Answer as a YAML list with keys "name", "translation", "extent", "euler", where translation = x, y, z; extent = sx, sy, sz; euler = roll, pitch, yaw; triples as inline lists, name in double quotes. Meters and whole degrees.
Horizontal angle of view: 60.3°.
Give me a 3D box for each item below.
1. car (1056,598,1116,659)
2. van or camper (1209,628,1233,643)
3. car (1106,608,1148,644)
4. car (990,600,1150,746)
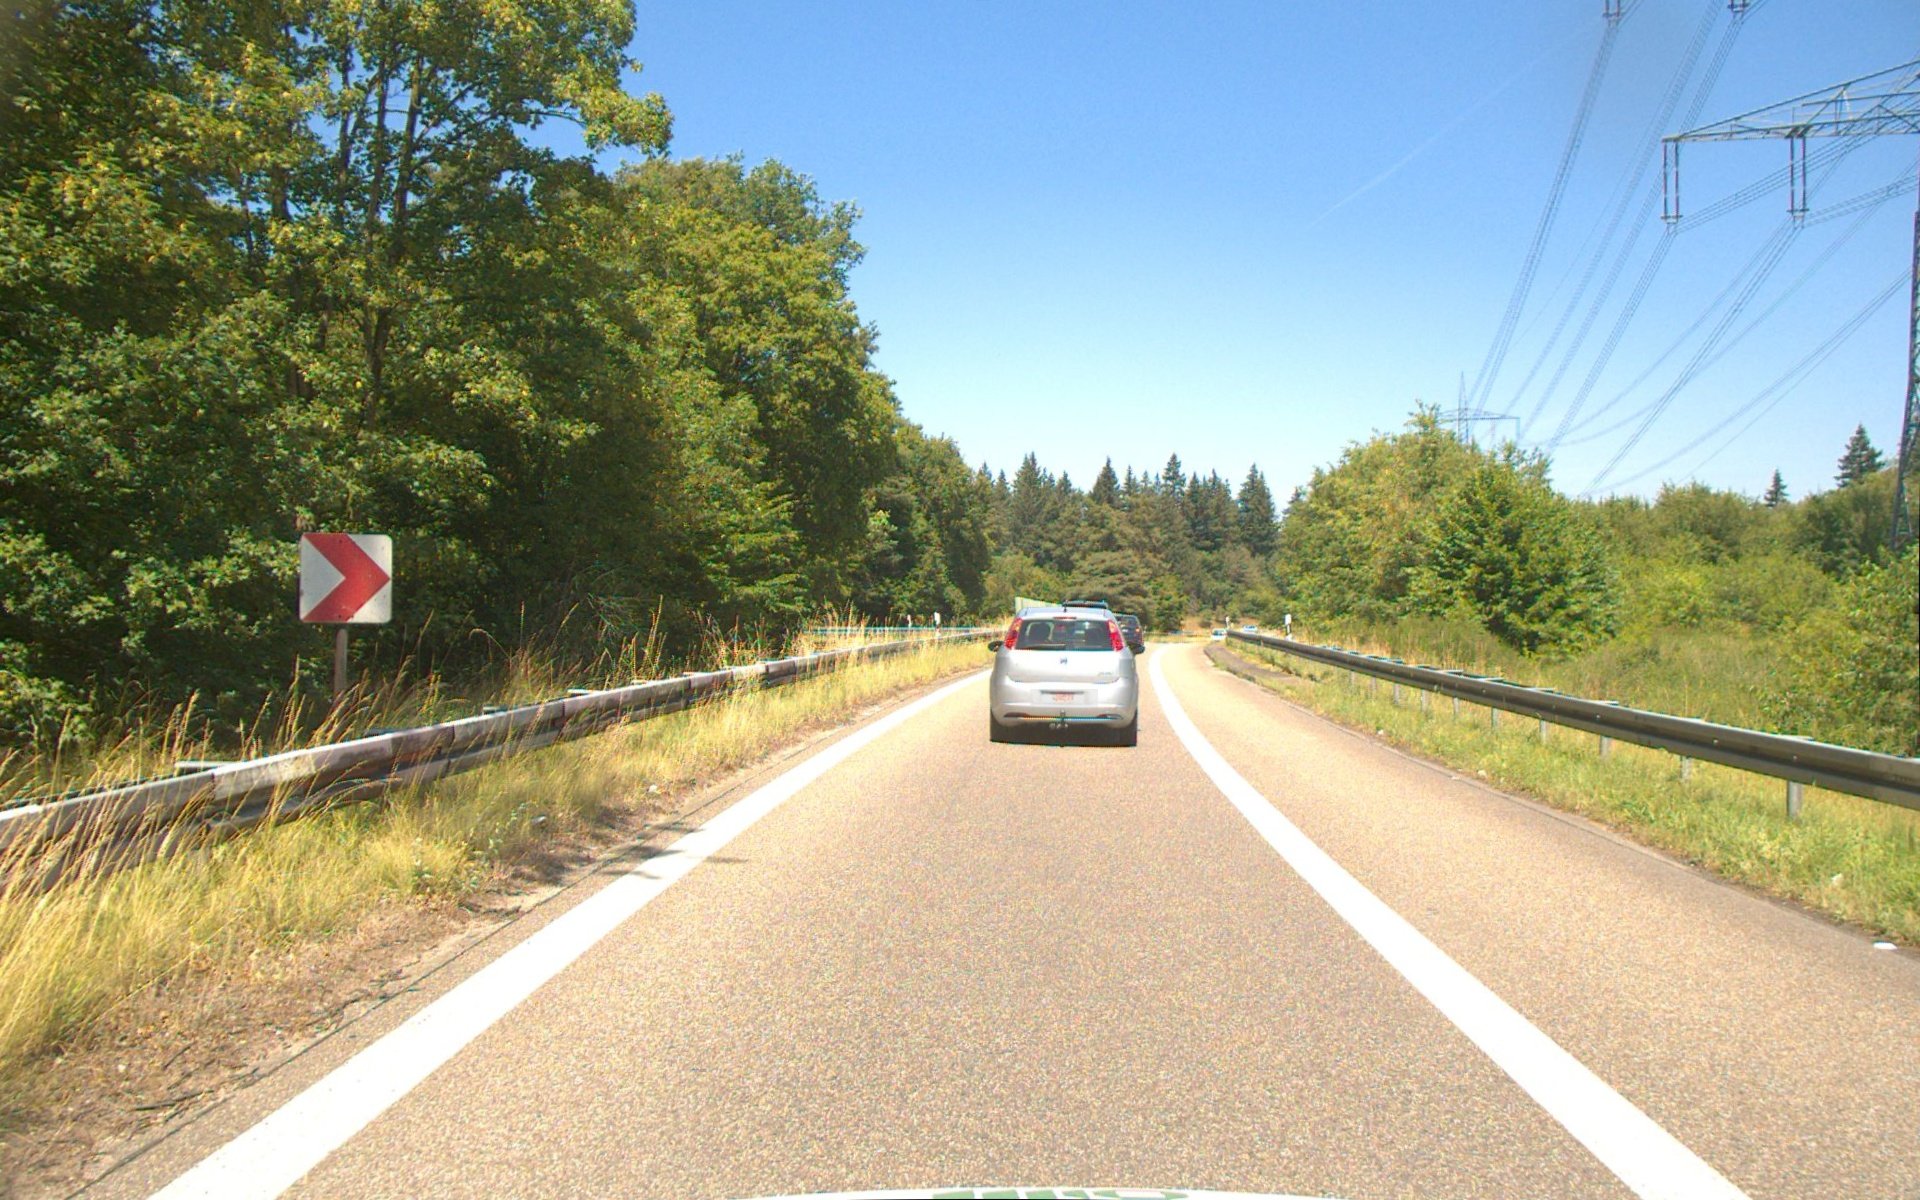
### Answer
- name: "car"
  translation: [3.661, 0.816, 48.232]
  extent: [1.670, 1.705, 3.399]
  euler: [1, -1, 4]
- name: "van or camper"
  translation: [26.541, 3.575, 168.033]
  extent: [1.769, 1.512, 4.001]
  euler: [0, 0, 19]
- name: "car"
  translation: [7.142, 1.107, 70.873]
  extent: [1.670, 1.473, 3.399]
  euler: [1, 0, 4]
- name: "car"
  translation: [1.282, 0.784, 19.206]
  extent: [1.670, 1.508, 3.399]
  euler: [1, 0, 4]
